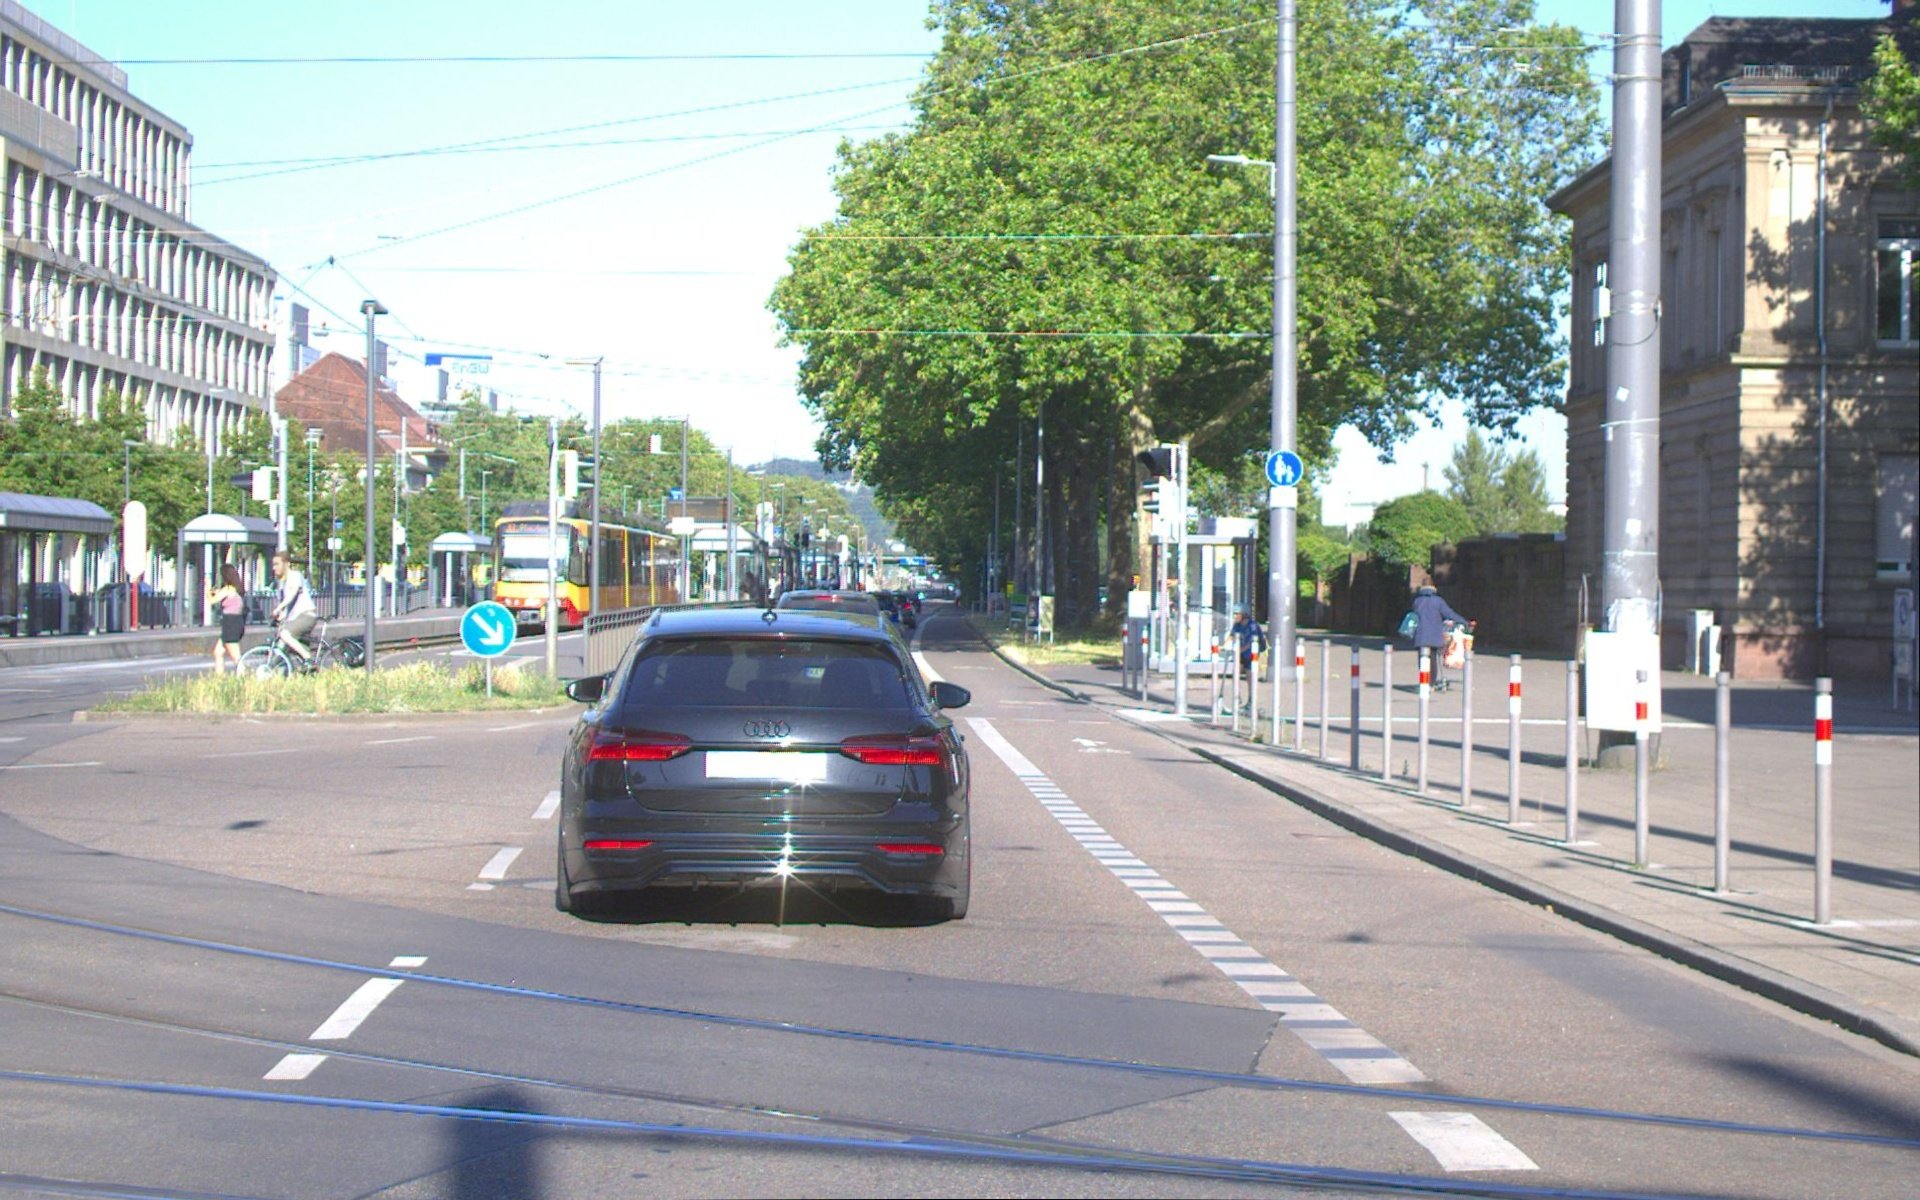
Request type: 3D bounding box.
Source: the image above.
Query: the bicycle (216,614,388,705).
[{"bbox_3d":[-8.143,0.733,42.538,2.005,1.104,0.765,0,1,-17],"label":"bicycle"}]

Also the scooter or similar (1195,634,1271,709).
[{"bbox_3d":[3.531,0.923,44.505,0.938,0.963,0.361,0,-1,-2],"label":"scooter or similar"}]

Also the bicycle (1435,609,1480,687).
[{"bbox_3d":[7.578,0.722,52.423,0.434,1.141,1.340,1,1,-2],"label":"bicycle"}]

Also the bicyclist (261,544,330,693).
[{"bbox_3d":[-8.222,0.224,42.530,0.756,1.812,0.765,0,1,-17],"label":"bicyclist"}]

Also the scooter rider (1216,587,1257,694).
[{"bbox_3d":[3.582,0.521,44.513,0.484,1.381,0.377,0,-1,-2],"label":"scooter rider"}]

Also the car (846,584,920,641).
[{"bbox_3d":[-2.092,0.337,94.143,1.902,1.481,4.144,1,0,0],"label":"car"}]

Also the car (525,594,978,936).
[{"bbox_3d":[-0.895,0.710,16.778,1.902,1.417,4.144,1,0,0],"label":"car"}]

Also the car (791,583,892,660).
[{"bbox_3d":[-2.410,0.429,70.680,1.902,1.481,4.144,1,0,0],"label":"car"}]

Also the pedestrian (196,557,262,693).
[{"bbox_3d":[-9.438,0.312,44.400,0.739,1.735,0.664,1,0,-6],"label":"pedestrian"}]

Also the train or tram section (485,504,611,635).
[{"bbox_3d":[-11.492,-0.860,96.750,2.608,3.439,11.133,1,1,-2],"label":"train or tram section"}]

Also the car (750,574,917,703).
[{"bbox_3d":[-1.531,0.460,42.918,1.902,1.481,4.144,1,0,0],"label":"car"}]

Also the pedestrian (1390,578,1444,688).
[{"bbox_3d":[6.961,0.491,52.395,0.682,1.655,0.758,1,0,-2],"label":"pedestrian"}]
